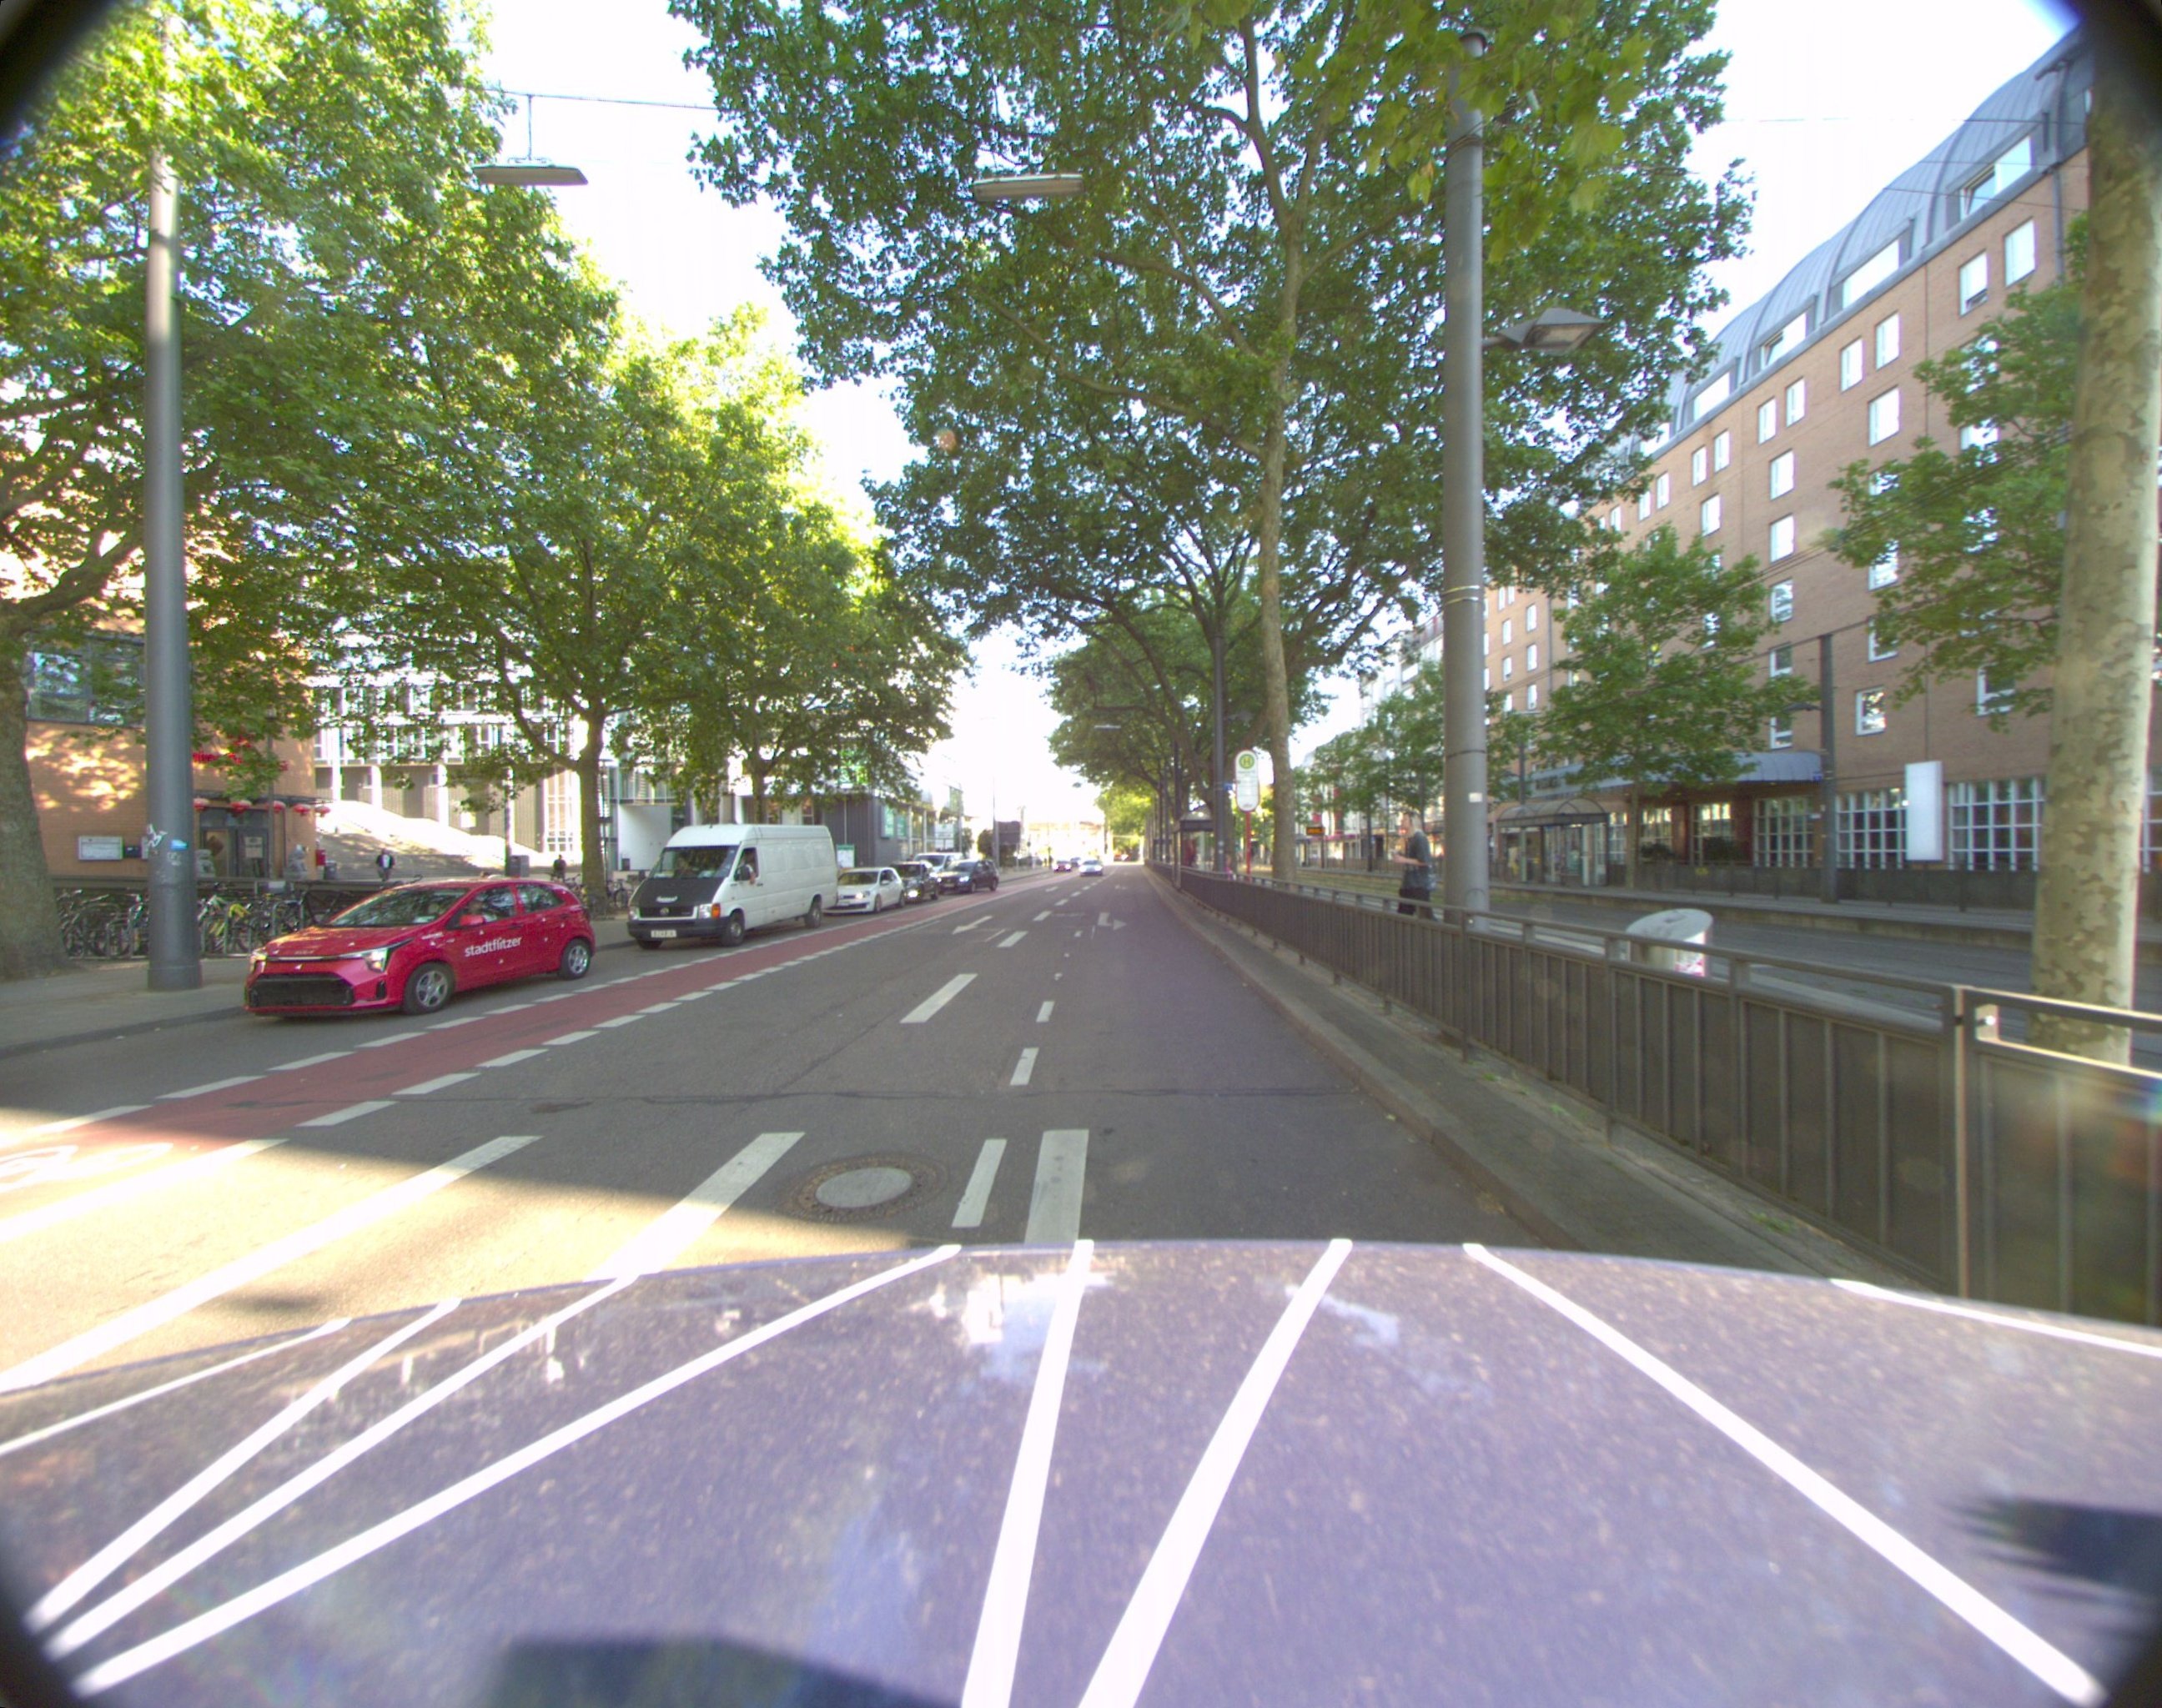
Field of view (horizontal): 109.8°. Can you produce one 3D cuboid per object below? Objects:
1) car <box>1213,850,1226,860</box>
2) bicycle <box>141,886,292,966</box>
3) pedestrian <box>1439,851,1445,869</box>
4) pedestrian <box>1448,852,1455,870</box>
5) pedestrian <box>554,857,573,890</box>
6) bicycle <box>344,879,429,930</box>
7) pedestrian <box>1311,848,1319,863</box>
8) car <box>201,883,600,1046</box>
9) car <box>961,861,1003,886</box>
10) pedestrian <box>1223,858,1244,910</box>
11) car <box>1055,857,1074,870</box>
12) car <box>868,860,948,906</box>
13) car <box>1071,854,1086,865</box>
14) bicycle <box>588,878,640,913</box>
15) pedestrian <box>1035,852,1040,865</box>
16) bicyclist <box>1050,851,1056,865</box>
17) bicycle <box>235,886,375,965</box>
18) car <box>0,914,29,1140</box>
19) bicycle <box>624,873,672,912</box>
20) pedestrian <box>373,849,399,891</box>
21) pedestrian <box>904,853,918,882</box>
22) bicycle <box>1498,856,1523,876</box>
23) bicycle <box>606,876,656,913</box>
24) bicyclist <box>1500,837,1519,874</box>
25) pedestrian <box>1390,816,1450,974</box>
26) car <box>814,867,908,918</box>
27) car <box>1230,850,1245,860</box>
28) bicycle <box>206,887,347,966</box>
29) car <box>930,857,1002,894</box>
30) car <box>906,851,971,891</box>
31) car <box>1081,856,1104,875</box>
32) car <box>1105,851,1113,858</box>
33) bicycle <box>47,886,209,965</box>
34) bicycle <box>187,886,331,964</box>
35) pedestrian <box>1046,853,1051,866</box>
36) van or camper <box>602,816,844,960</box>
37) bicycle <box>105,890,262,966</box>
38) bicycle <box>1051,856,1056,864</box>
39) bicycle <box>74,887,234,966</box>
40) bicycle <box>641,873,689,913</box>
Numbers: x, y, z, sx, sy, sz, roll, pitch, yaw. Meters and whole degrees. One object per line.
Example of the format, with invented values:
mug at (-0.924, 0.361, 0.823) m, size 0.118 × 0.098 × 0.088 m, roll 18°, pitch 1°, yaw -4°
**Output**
car at (27.440, 0.212, 150.751) m, size 1.998 × 2.002 × 4.000 m, roll -1°, pitch 0°, yaw 1°
bicycle at (-14.842, 1.197, 13.125) m, size 0.447 × 1.187 × 1.850 m, roll 0°, pitch 0°, yaw 1°
pedestrian at (29.876, 0.509, 62.945) m, size 0.438 × 1.497 × 0.659 m, roll 0°, pitch 1°, yaw 23°
pedestrian at (30.541, 0.556, 62.621) m, size 0.438 × 1.511 × 0.659 m, roll 0°, pitch 1°, yaw 23°
pedestrian at (-25.040, 0.934, 36.734) m, size 0.719 × 1.549 × 0.639 m, roll -1°, pitch 1°, yaw -35°
bicycle at (-17.859, 1.283, 19.592) m, size 0.517 × 1.187 × 1.790 m, roll 0°, pitch 0°, yaw 1°
pedestrian at (30.937, 0.201, 100.516) m, size 0.806 × 2.002 × 0.763 m, roll -1°, pitch 1°, yaw 1°
car at (-7.932, 1.175, 9.394) m, size 1.606 × 1.449 × 3.651 m, roll -1°, pitch 0°, yaw 0°
car at (-5.988, 1.171, 46.264) m, size 1.801 × 1.369 × 4.001 m, roll 0°, pitch 0°, yaw 3°
pedestrian at (3.932, 0.773, 19.624) m, size 0.500 × 1.308 × 0.419 m, roll 0°, pitch 1°, yaw 8°
car at (-1.766, 1.001, 83.693) m, size 1.801 × 1.369 × 4.001 m, roll 0°, pitch 0°, yaw 3°
car at (-6.713, 1.080, 29.936) m, size 1.818 × 1.610 × 4.229 m, roll -1°, pitch 0°, yaw 5°
car at (-0.347, 0.680, 103.751) m, size 1.801 × 1.438 × 4.001 m, roll 0°, pitch 0°, yaw 3°
bicycle at (-15.220, 1.329, 24.794) m, size 0.516 × 1.027 × 1.850 m, roll 0°, pitch 0°, yaw 1°
pedestrian at (-5.282, 0.556, 91.996) m, size 0.611 × 1.644 × 0.583 m, roll -1°, pitch 1°, yaw 1°
bicyclist at (-3.462, 0.457, 94.925) m, size 0.673 × 1.707 × 0.715 m, roll -1°, pitch 1°, yaw 1°
bicycle at (-13.317, 1.191, 13.129) m, size 0.482 × 1.187 × 1.850 m, roll 0°, pitch 0°, yaw 1°
car at (-8.008, 1.180, 2.988) m, size 1.743 × 1.476 × 4.251 m, roll -2°, pitch 0°, yaw 0°
bicycle at (-14.115, 1.226, 24.820) m, size 0.495 × 1.187 × 1.850 m, roll 0°, pitch 0°, yaw 1°
pedestrian at (-33.397, 0.758, 36.503) m, size 0.878 × 2.025 × 0.584 m, roll -1°, pitch 1°, yaw -43°
pedestrian at (-10.361, 0.812, 46.400) m, size 0.715 × 1.758 × 0.526 m, roll -1°, pitch 1°, yaw 2°
bicycle at (21.744, 0.589, 38.522) m, size 0.451 × 0.998 × 1.753 m, roll -1°, pitch 0°, yaw 6°
bicycle at (-14.659, 1.302, 24.819) m, size 0.522 × 1.088 × 1.797 m, roll 0°, pitch 0°, yaw 1°
bicyclist at (21.648, 0.073, 38.425) m, size 0.572 × 1.893 × 0.813 m, roll 0°, pitch 1°, yaw 6°
pedestrian at (4.184, 0.474, 9.367) m, size 0.621 × 1.873 × 0.607 m, roll 0°, pitch 3°, yaw 29°
car at (-7.082, 1.185, 24.876) m, size 1.682 × 1.420 × 4.001 m, roll -1°, pitch 0°, yaw 3°
car at (29.951, 0.207, 145.656) m, size 1.998 × 2.002 × 4.000 m, roll -1°, pitch 0°, yaw 1°
bicycle at (-13.820, 1.202, 13.135) m, size 0.448 × 1.187 × 1.850 m, roll 0°, pitch 0°, yaw 1°
car at (-5.525, 1.010, 37.049) m, size 1.964 × 1.610 × 4.335 m, roll -1°, pitch 0°, yaw 14°
car at (-7.480, 0.857, 40.474) m, size 1.965 × 1.983 × 4.960 m, roll -1°, pitch 0°, yaw 7°
car at (0.987, 0.912, 63.402) m, size 1.733 × 1.432 × 4.000 m, roll -2°, pitch 0°, yaw 2°
car at (7.622, 0.145, 206.191) m, size 1.998 × 2.002 × 4.001 m, roll 0°, pitch 0°, yaw 4°
bicycle at (-16.387, 1.195, 13.139) m, size 0.435 × 1.187 × 1.850 m, roll 0°, pitch 0°, yaw 1°
bicycle at (-14.326, 1.198, 13.325) m, size 0.484 × 1.187 × 1.850 m, roll 0°, pitch 0°, yaw 1°
pedestrian at (-4.269, 0.743, 100.875) m, size 0.648 × 1.644 × 0.643 m, roll -1°, pitch 1°, yaw 1°
van or camper at (-7.527, 0.612, 17.068) m, size 1.998 × 2.563 × 6.575 m, roll -2°, pitch 0°, yaw 3°
bicycle at (-15.425, 1.234, 13.134) m, size 0.485 × 1.118 × 1.850 m, roll 0°, pitch 0°, yaw 1°
bicycle at (-3.453, 0.752, 94.889) m, size 0.580 × 0.879 × 1.671 m, roll -1°, pitch 0°, yaw 1°
bicycle at (-15.924, 1.201, 13.136) m, size 0.458 × 1.187 × 1.850 m, roll 0°, pitch 0°, yaw 1°
bicycle at (-13.572, 1.245, 24.841) m, size 0.522 × 1.187 × 1.850 m, roll 0°, pitch 0°, yaw 1°
